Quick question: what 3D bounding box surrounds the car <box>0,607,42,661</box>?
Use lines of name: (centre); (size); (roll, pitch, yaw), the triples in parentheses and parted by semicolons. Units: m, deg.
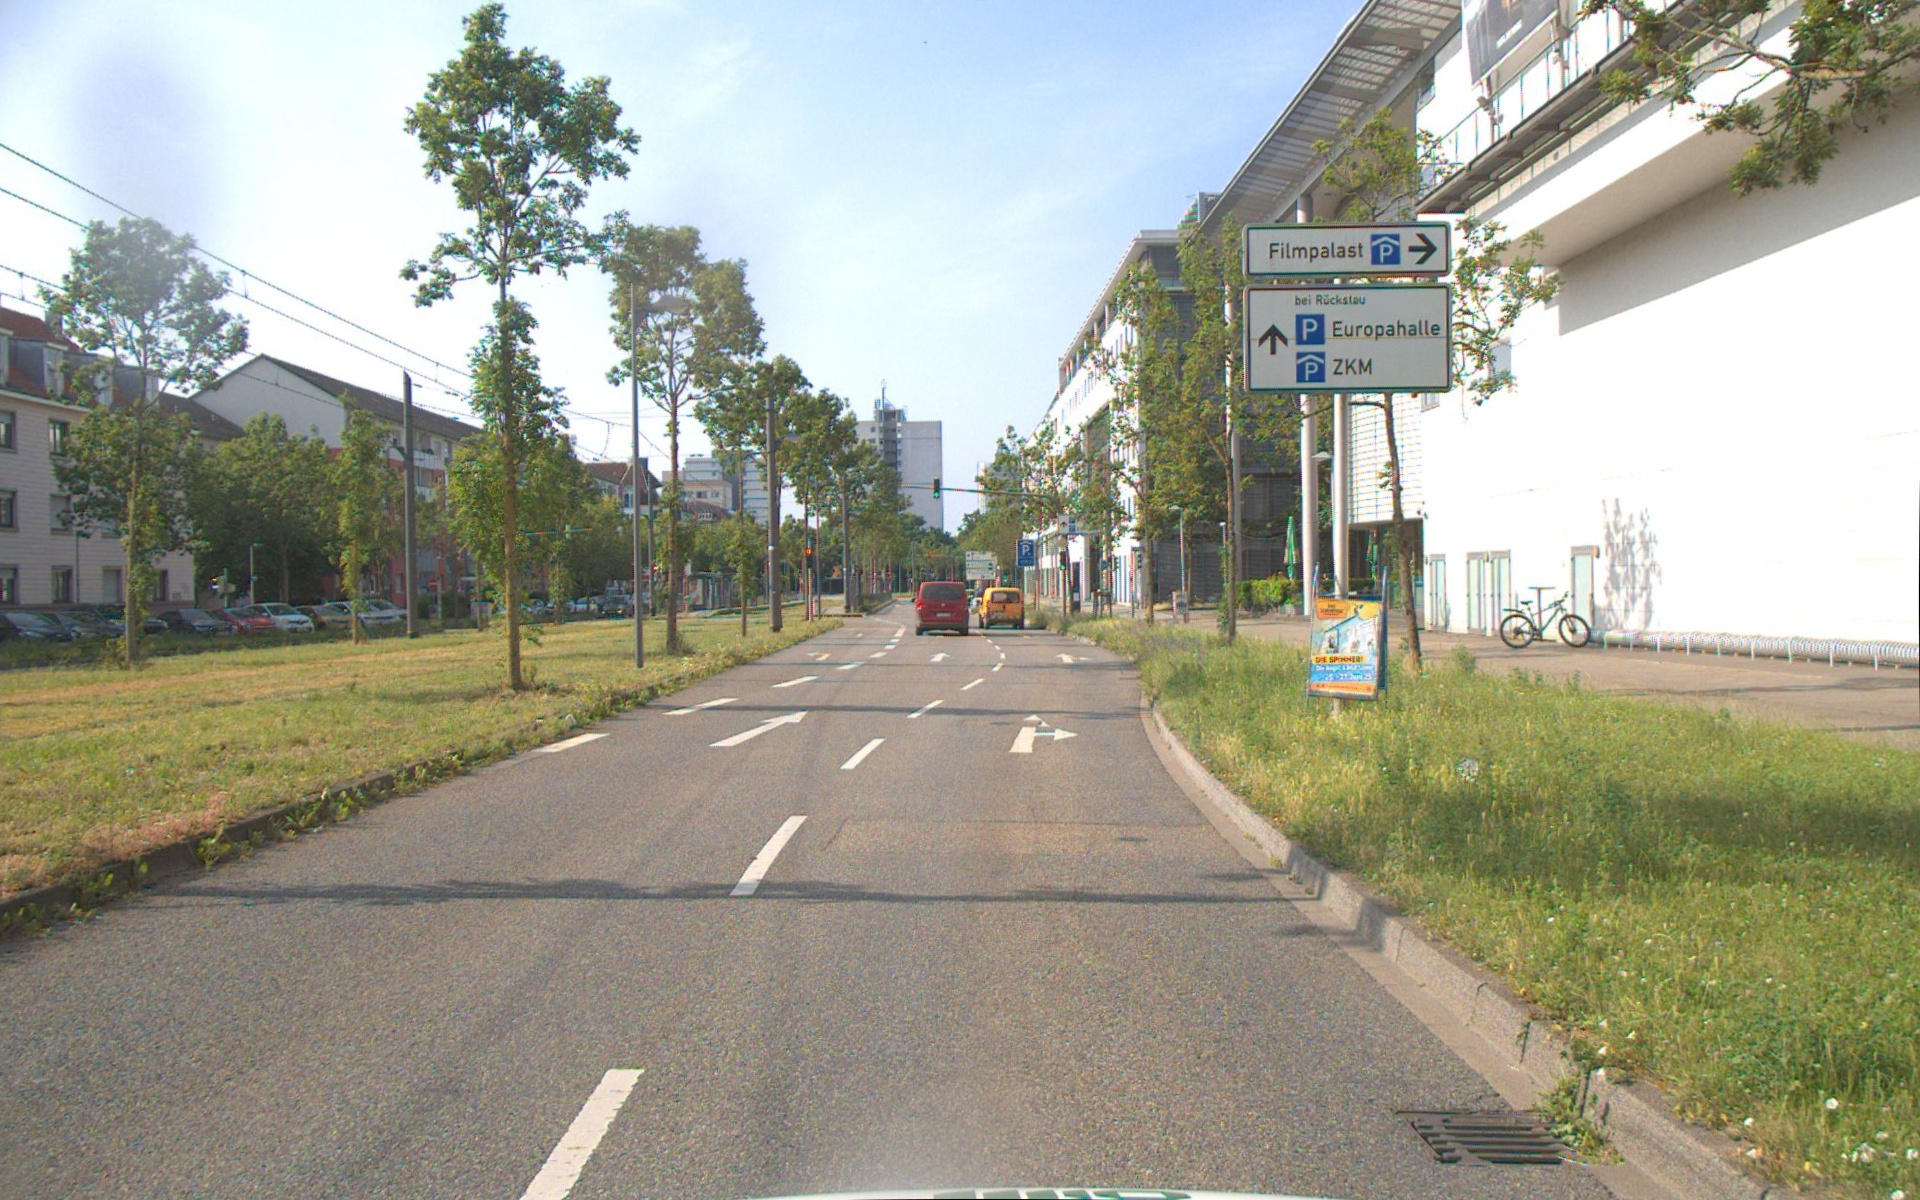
car: (-26.900, 0.901, 44.825); (3.693, 1.400, 1.663); (1, 0, 25)

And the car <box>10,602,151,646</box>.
car: (-27.831, 0.725, 52.329); (3.907, 1.310, 1.999); (1, 0, 25)

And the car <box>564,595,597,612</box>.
car: (-32.007, 0.286, 139.454); (1.941, 1.384, 4.068); (1, 0, -2)

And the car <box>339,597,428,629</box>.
car: (-28.379, 0.637, 81.389); (4.261, 1.489, 1.959); (1, 0, 32)

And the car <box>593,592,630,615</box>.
car: (-27.882, 0.263, 132.355); (1.953, 1.735, 4.712); (-1, 0, 0)

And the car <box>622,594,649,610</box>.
car: (-32.548, 0.165, 165.917); (1.941, 1.540, 4.279); (1, 0, -2)

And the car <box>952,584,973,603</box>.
car: (0.204, -0.571, 140.529); (1.655, 1.552, 3.850); (-3, 0, -1)

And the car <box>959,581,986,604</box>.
car: (0.875, -0.507, 114.248); (1.686, 1.545, 3.780); (-1, 0, -2)

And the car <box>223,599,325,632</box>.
car: (-28.244, 0.624, 68.106); (3.911, 1.291, 1.884); (1, 0, 29)

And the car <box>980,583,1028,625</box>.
car: (1.843, 0.147, 70.166); (1.837, 1.726, 3.973); (-1, 0, -1)

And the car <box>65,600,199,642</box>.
car: (-27.420, 0.662, 54.757); (3.967, 1.310, 1.998); (1, 0, 26)

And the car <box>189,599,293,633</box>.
car: (-28.274, 0.617, 64.998); (3.915, 1.280, 1.871); (1, 0, 32)

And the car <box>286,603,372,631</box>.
car: (-28.709, 0.764, 75.236); (3.925, 1.199, 1.990); (1, 0, 40)

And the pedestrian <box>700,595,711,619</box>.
pedestrian: (-18.398, 0.505, 119.635); (0.658, 1.682, 0.794); (-1, 0, -6)

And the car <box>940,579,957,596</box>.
car: (-1.450, -1.506, 204.212); (1.953, 2.049, 3.999); (-1, 0, -1)

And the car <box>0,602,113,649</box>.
car: (-27.561, 0.772, 49.463); (3.907, 1.310, 1.999); (-1, 0, 24)

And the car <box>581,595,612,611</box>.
car: (-32.098, 0.257, 145.959); (1.941, 1.384, 4.068); (1, 0, -2)

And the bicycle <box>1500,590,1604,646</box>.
bicycle: (12.604, 0.381, 35.259); (1.966, 1.122, 0.676); (-1, 0, 3)

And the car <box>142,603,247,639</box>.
car: (-28.326, 0.749, 61.179); (3.915, 1.256, 1.695); (1, 0, 32)

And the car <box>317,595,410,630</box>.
car: (-28.041, 0.568, 77.761); (4.374, 1.541, 1.993); (1, 0, 35)

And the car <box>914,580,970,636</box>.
car: (-0.683, 0.255, 58.957); (1.837, 1.886, 3.998); (-1, 0, -2)

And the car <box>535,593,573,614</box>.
car: (-31.762, 0.229, 129.516); (1.941, 1.583, 4.535); (1, 0, -2)
